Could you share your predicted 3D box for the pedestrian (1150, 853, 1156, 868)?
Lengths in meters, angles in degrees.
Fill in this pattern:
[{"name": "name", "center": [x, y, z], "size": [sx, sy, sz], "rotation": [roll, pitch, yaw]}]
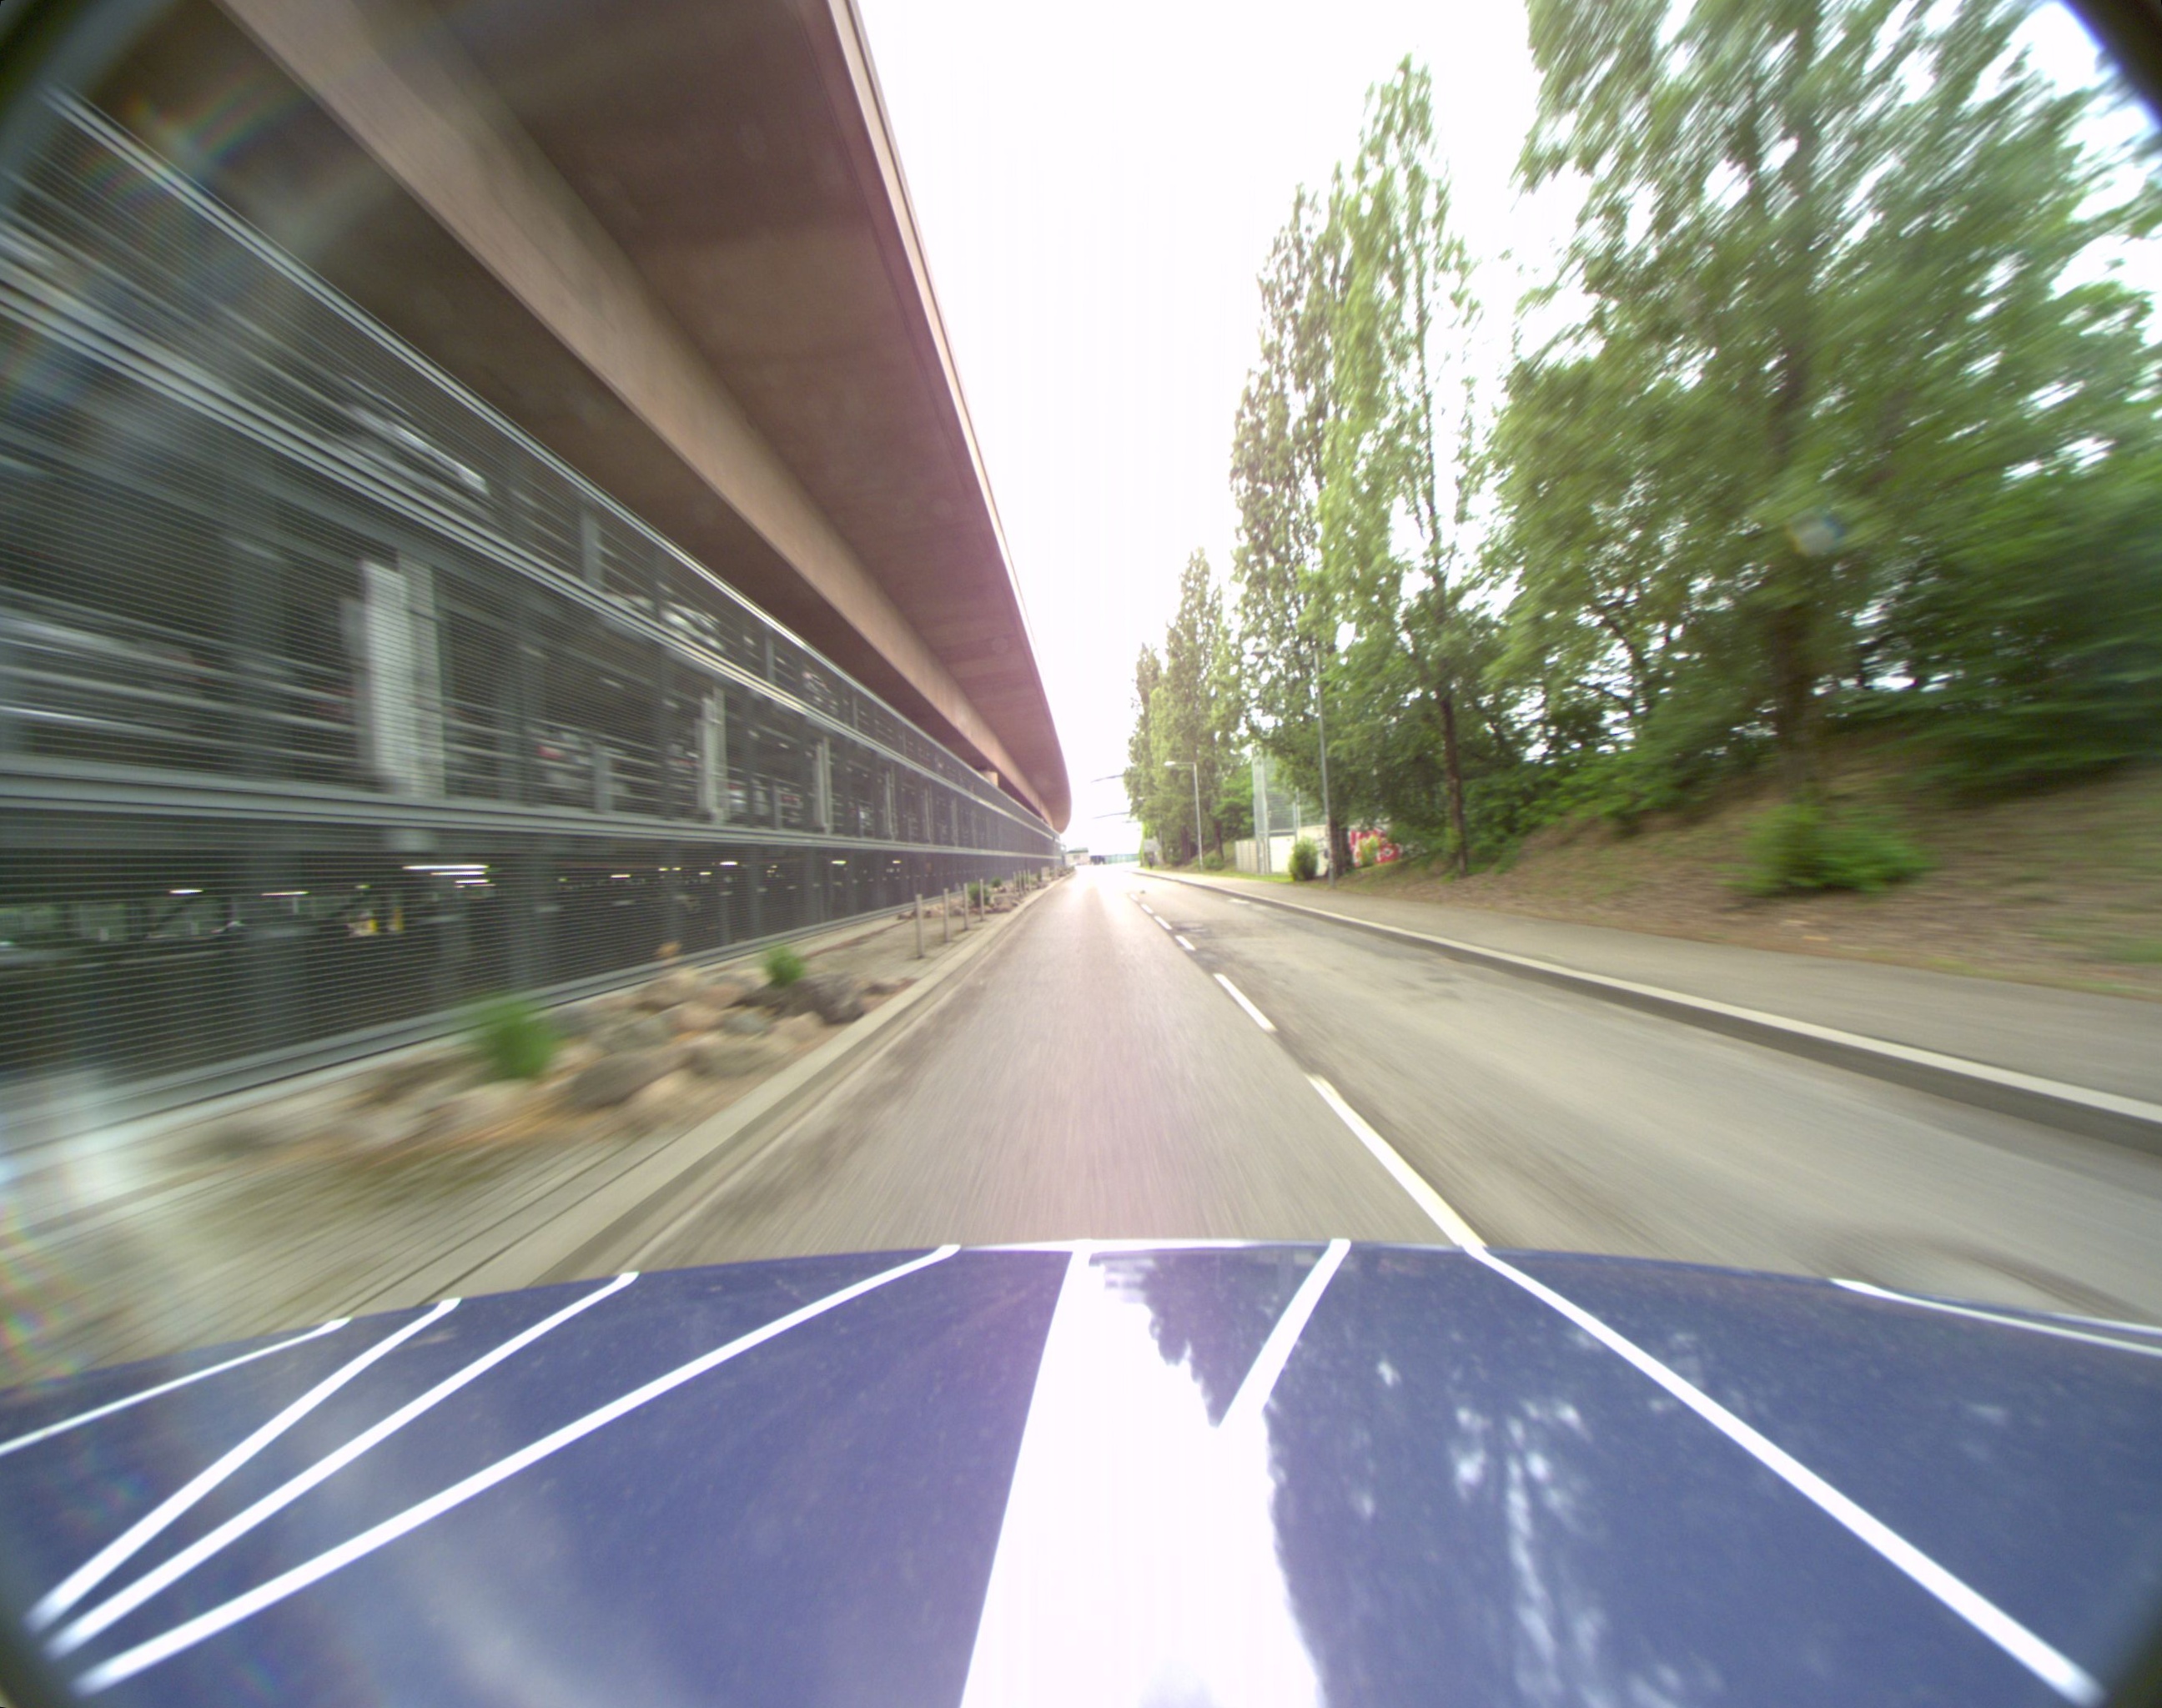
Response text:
[{"name": "pedestrian", "center": [9.186, 0.858, 97.427], "size": [0.662, 1.882, 0.737], "rotation": [-2, 1, 1]}]
